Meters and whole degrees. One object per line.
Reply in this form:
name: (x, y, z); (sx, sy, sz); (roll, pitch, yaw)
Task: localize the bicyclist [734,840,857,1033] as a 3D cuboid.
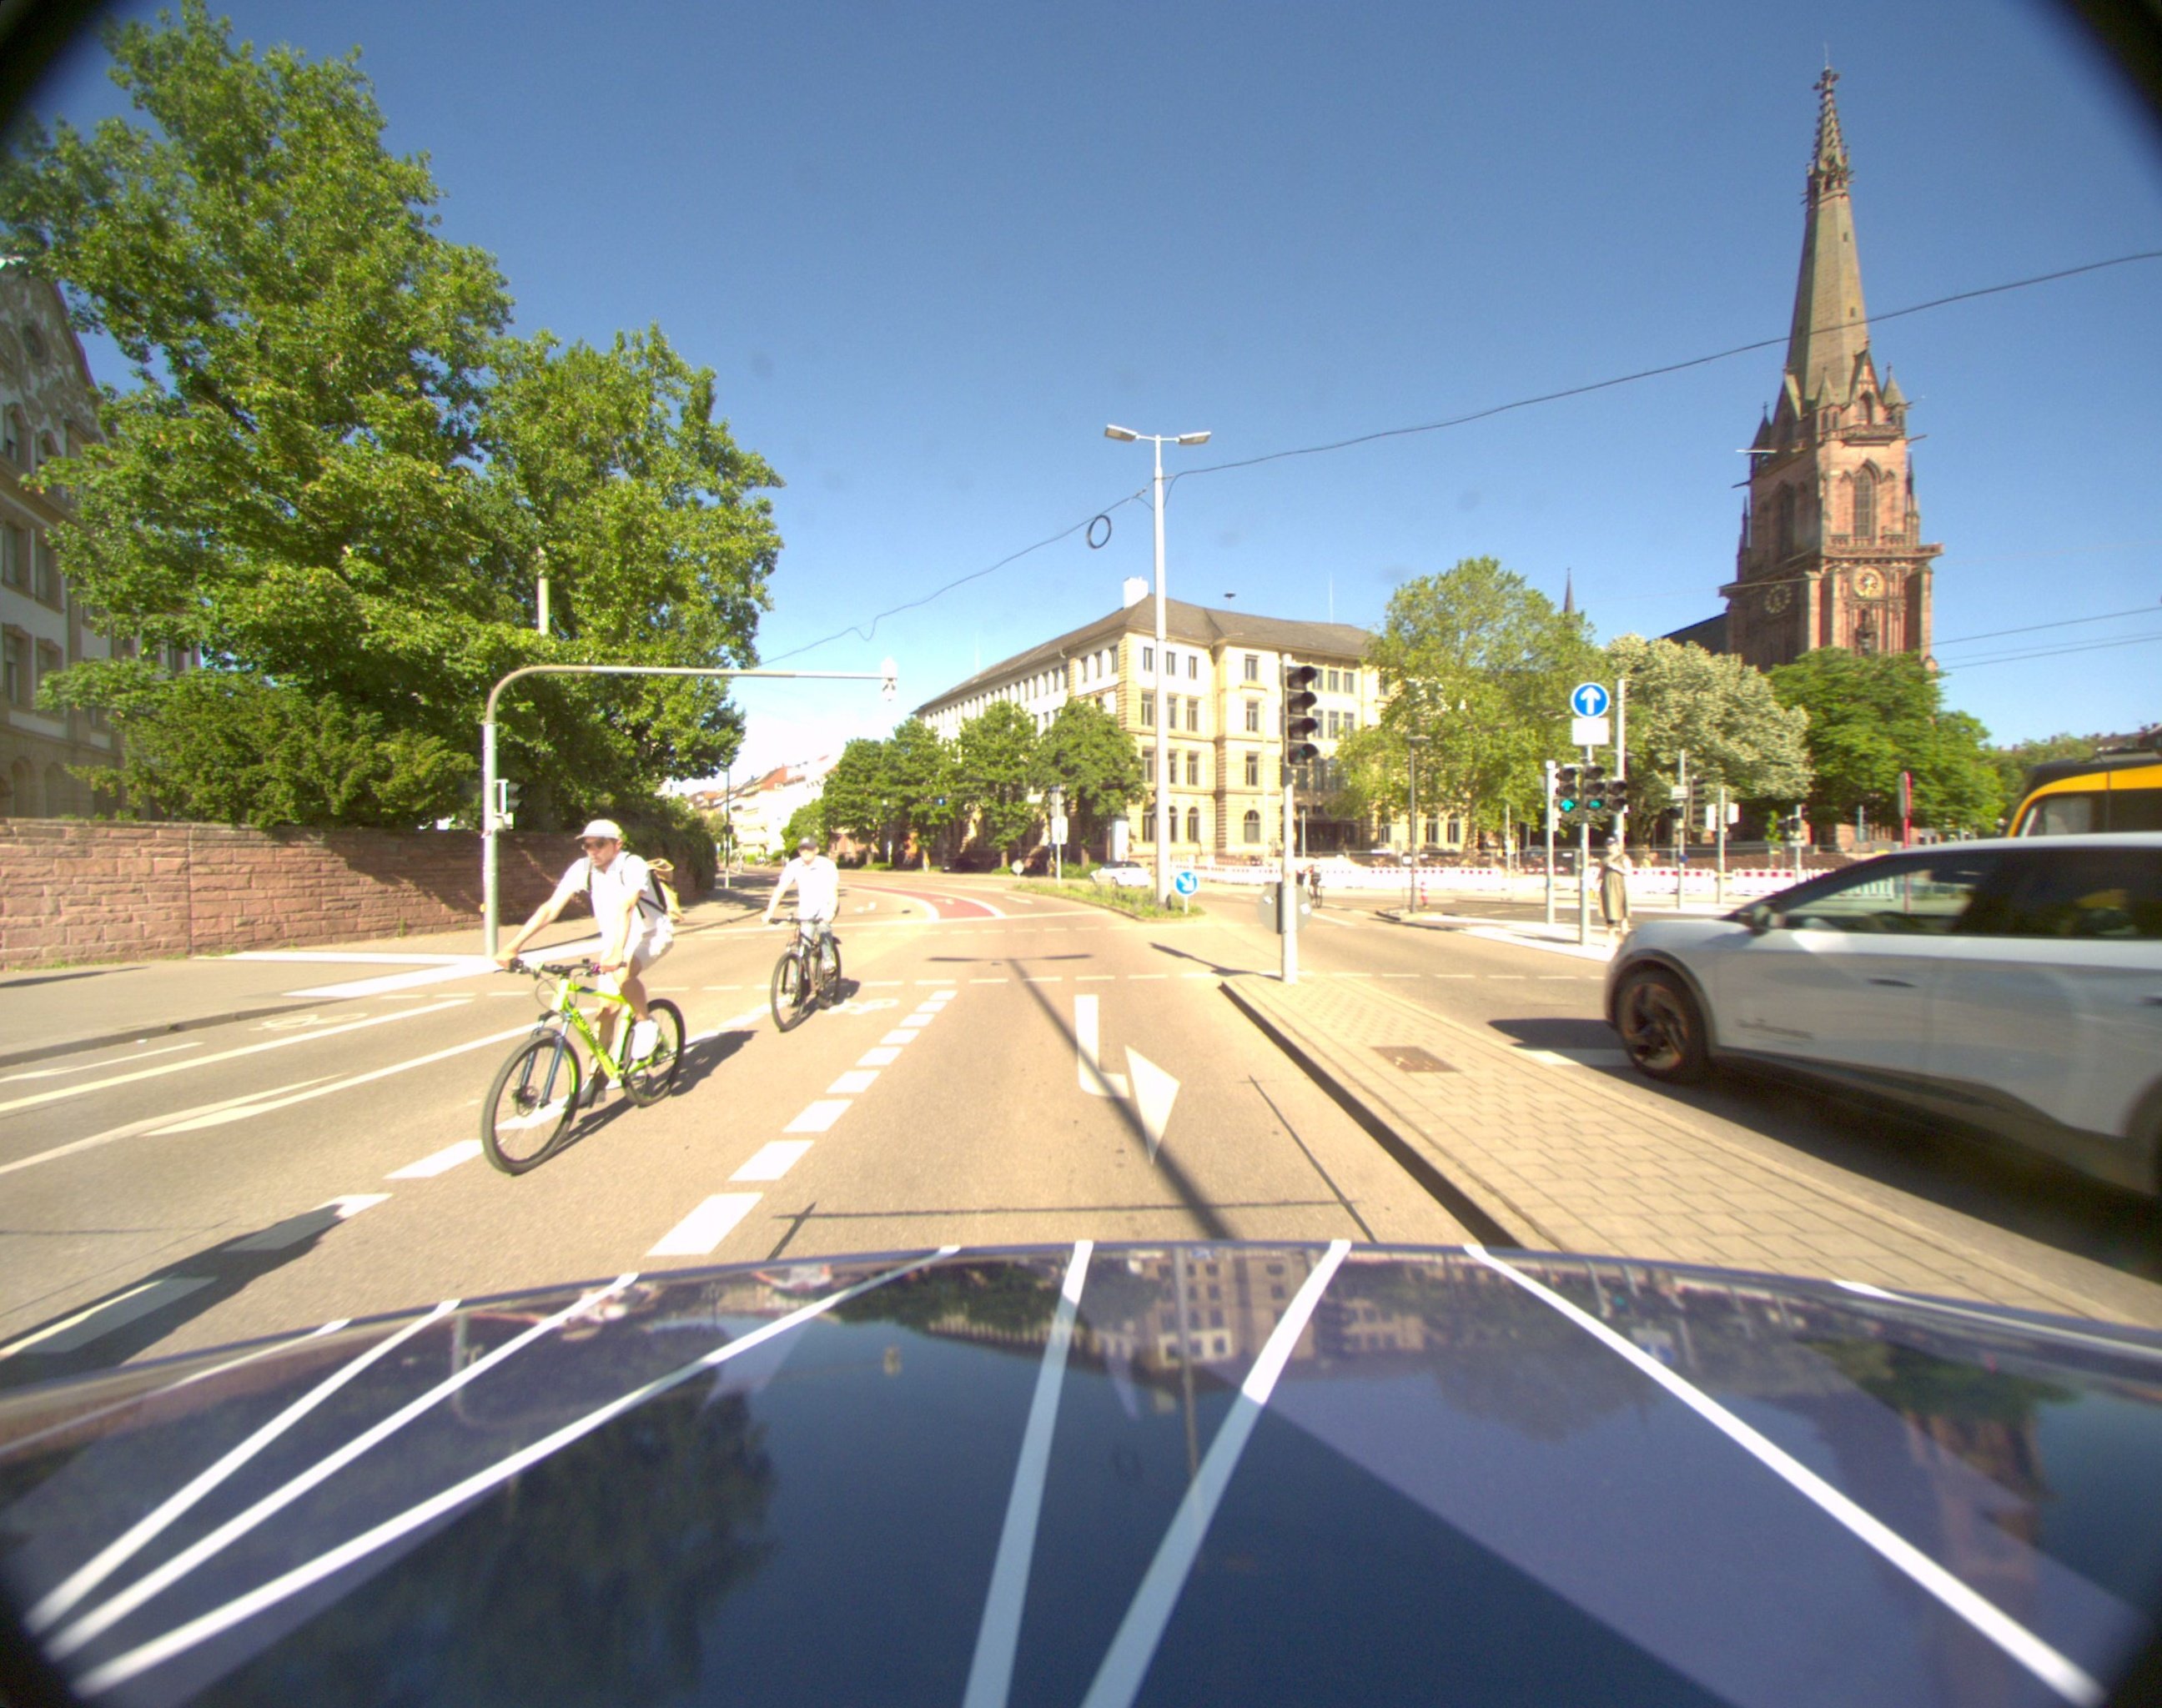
bicyclist: (-2.761, 0.754, 7.466); (0.751, 1.765, 1.014); (-1, 1, 3)

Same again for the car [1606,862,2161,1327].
car: (4.602, 0.851, 3.186); (1.823, 1.559, 4.250); (1, 0, 0)

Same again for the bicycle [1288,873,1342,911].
bicycle: (7.382, 1.168, 24.058); (0.776, 1.074, 2.033); (0, 1, -10)

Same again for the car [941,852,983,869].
car: (-11.513, 0.585, 73.606); (1.916, 1.565, 4.118); (0, 1, 29)

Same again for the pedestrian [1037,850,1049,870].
pedestrian: (-3.364, 0.515, 67.286); (0.731, 1.660, 0.844); (-1, 3, -29)

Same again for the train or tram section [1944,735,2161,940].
train or tram section: (21.153, -0.282, 11.500); (2.832, 3.487, 10.451); (-1, 0, -36)

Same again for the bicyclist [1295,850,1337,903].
bicyclist: (7.406, 0.682, 24.006); (0.883, 1.635, 1.059); (0, 1, -10)

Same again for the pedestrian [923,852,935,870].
pedestrian: (-14.710, 0.719, 73.657); (0.773, 1.658, 1.031); (2, -4, -38)

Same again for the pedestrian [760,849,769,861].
pedestrian: (-48.634, 0.167, 116.730); (0.677, 1.728, 0.933); (0, 1, 37)

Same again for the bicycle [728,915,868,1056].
bicycle: (-2.738, 1.228, 7.577); (0.612, 1.071, 1.830); (-1, 1, 3)

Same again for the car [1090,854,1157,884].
car: (2.080, 0.727, 38.327); (1.808, 1.385, 4.084); (1, 0, -22)

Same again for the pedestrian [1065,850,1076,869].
pedestrian: (-0.869, 0.435, 62.141); (0.580, 1.553, 0.652); (-1, 1, -34)

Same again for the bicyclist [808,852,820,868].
bicyclist: (-26.574, 0.605, 75.665); (0.743, 1.574, 0.881); (1, 3, 43)

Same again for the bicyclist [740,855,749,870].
bicyclist: (-31.662, 0.789, 71.433); (0.666, 1.453, 0.621); (-2, 3, -30)

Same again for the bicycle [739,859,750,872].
bicycle: (-31.665, 1.119, 71.463); (0.666, 1.146, 1.668); (-2, 2, -30)

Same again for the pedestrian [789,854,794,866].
pedestrian: (-42.878, 0.880, 112.527); (0.580, 1.845, 0.683); (-1, 1, -33)

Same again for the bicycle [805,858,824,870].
bicycle: (-26.522, 1.003, 75.728); (0.743, 1.145, 1.602); (1, 3, 43)

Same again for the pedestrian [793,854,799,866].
pedestrian: (-42.342, 0.858, 112.931); (0.580, 1.845, 0.683); (-1, 1, -33)

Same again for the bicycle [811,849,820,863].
bicycle: (-38.931, 0.294, 111.419); (1.005, 1.876, 3.887); (-2, 2, -16)

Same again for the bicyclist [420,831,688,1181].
bicyclist: (-2.901, 0.763, 4.309); (0.665, 1.737, 1.005); (-3, 1, 4)

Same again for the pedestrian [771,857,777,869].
pedestrian: (-48.176, 1.474, 119.231); (0.730, 1.845, 0.652); (-1, 1, -32)

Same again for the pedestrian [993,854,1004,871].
pedestrian: (-8.078, 0.812, 74.589); (0.674, 1.558, 0.856); (-6, 4, -38)

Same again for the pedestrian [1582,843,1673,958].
pedestrian: (9.106, 0.755, 12.685); (0.902, 1.839, 0.763); (-2, -1, -14)

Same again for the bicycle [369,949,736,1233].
bicycle: (-2.878, 1.221, 4.459); (0.664, 1.041, 1.890); (-3, 1, 4)

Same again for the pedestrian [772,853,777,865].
pedestrian: (-48.086, 0.746, 119.094); (0.580, 1.845, 0.683); (-1, 1, -33)
